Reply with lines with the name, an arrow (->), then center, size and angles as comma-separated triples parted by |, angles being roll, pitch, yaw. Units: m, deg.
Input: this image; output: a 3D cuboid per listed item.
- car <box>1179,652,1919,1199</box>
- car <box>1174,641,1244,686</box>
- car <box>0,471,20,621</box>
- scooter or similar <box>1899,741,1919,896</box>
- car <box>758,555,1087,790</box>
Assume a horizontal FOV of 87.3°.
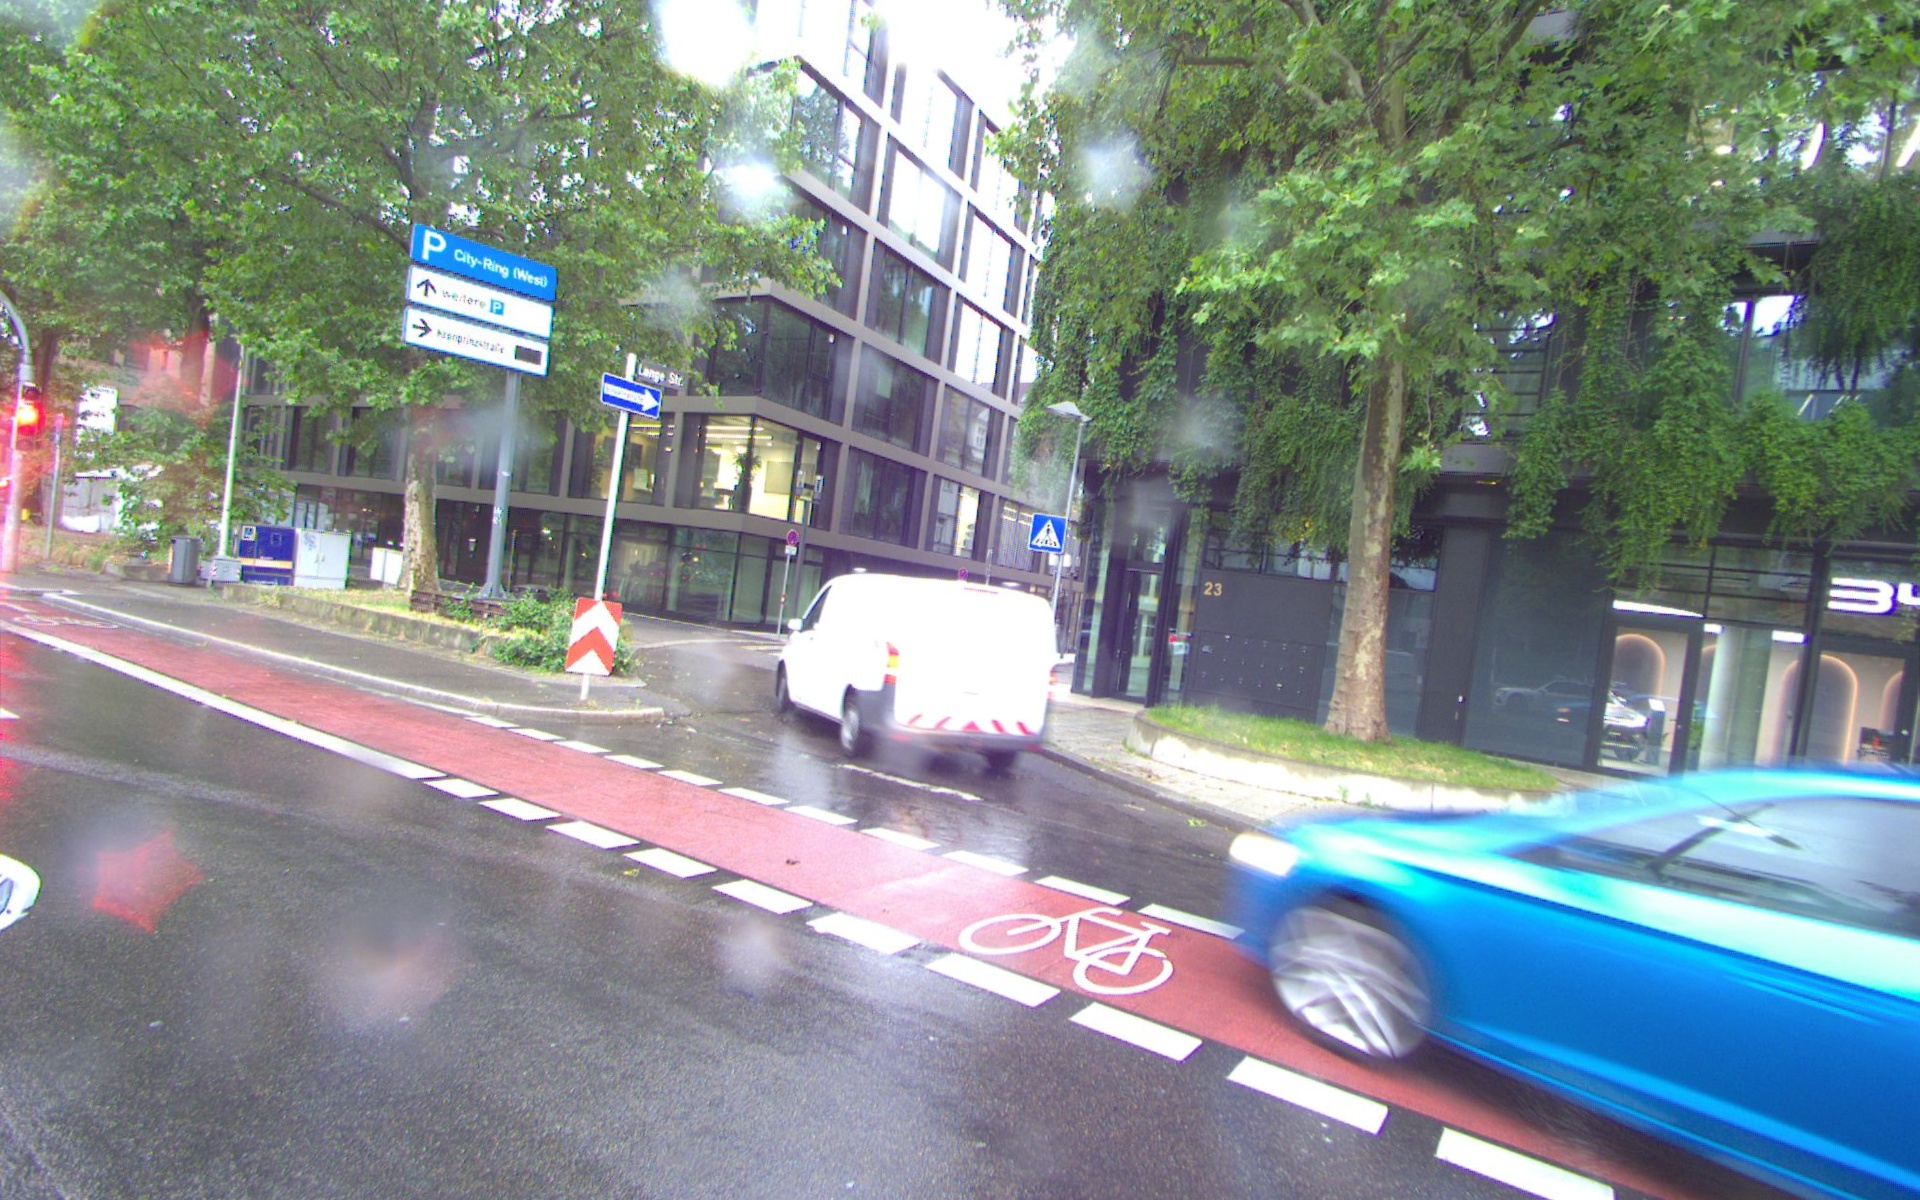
car -> 2.979, 1.159, 3.472 | 1.787, 1.453, 4.020 | 7, -1, -38
car -> 10.891, 2.793, 43.784 | 1.814, 1.607, 3.997 | 6, -2, 30
car -> -12.160, -0.738, 10.871 | 3.935, 1.717, 1.881 | 6, -2, 33
scooter or similar -> 8.490, 1.881, 8.110 | 0.528, 1.297, 1.184 | 7, -1, -8
car -> -0.741, 0.618, 11.548 | 1.901, 1.969, 4.935 | 7, 0, -24
